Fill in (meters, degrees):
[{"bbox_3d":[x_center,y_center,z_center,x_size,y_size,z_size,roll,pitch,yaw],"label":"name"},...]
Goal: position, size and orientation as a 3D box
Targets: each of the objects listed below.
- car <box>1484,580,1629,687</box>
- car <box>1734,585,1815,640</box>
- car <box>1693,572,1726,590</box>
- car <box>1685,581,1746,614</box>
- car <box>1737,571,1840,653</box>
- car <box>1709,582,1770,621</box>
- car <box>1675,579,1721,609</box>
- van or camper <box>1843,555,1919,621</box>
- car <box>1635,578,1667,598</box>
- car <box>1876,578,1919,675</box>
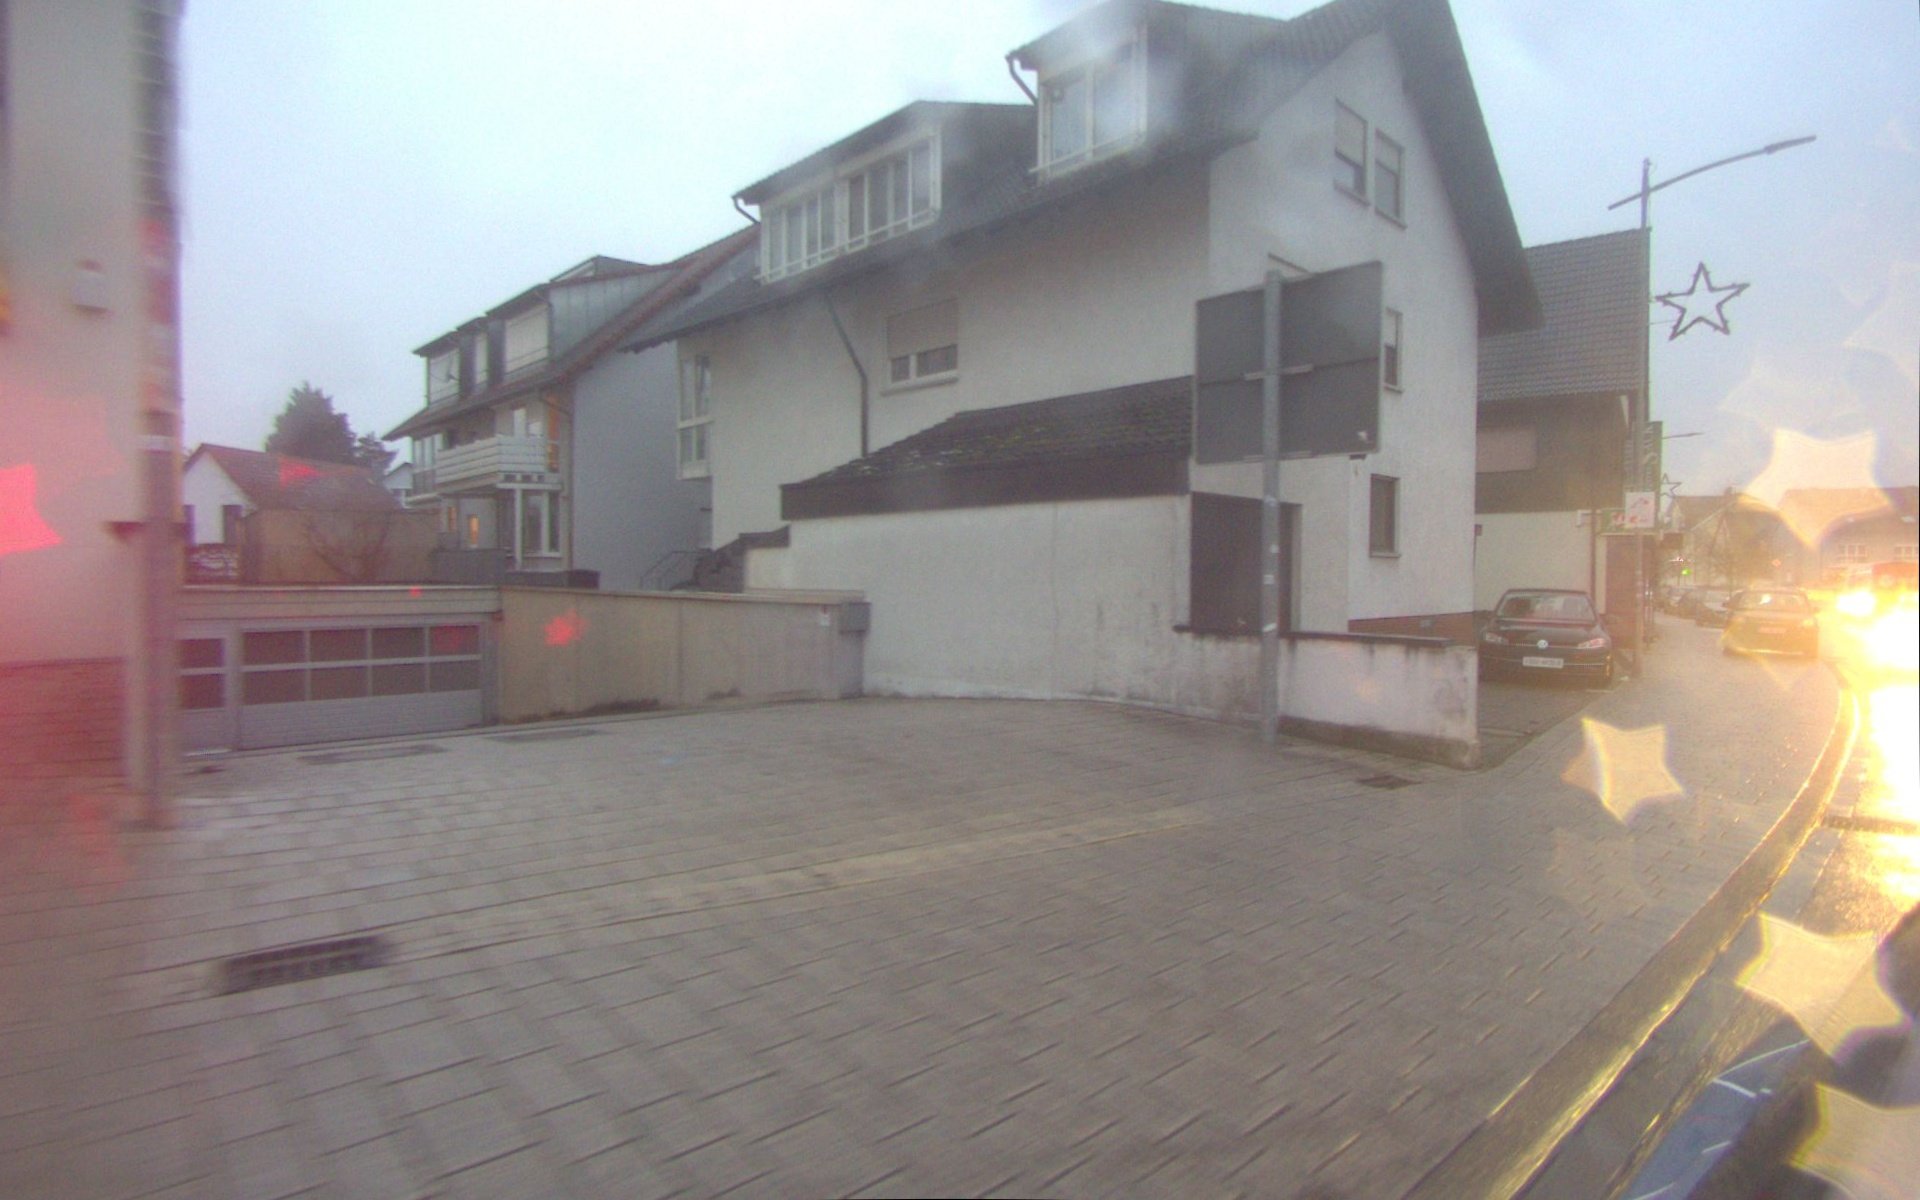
[{"bbox_3d":[9.626,0.427,16.365,1.757,1.410,3.871,3,3,31],"label":"car"},{"bbox_3d":[24.023,0.335,29.928,1.641,1.432,2.692,4,3,36],"label":"car"},{"bbox_3d":[68.865,-1.721,93.049,1.649,1.656,3.523,0,1,23],"label":"car"},{"bbox_3d":[38.716,-0.137,51.938,1.947,1.552,4.955,-2,0,31],"label":"car"},{"bbox_3d":[20.683,0.239,25.261,1.768,1.803,3.942,5,4,40],"label":"car"},{"bbox_3d":[33.051,0.030,43.022,1.646,1.472,4.188,4,3,33],"label":"car"},{"bbox_3d":[42.118,-0.360,57.817,1.656,1.595,4.448,2,2,31],"label":"car"},{"bbox_3d":[40.843,-0.527,44.256,2.230,2.702,6.482,2,2,31],"label":"van or camper"},{"bbox_3d":[55.905,-0.987,81.921,1.798,1.583,4.260,2,2,30],"label":"car"},{"bbox_3d":[18.508,0.531,18.727,1.897,1.661,4.503,0,-2,37],"label":"car"}]
